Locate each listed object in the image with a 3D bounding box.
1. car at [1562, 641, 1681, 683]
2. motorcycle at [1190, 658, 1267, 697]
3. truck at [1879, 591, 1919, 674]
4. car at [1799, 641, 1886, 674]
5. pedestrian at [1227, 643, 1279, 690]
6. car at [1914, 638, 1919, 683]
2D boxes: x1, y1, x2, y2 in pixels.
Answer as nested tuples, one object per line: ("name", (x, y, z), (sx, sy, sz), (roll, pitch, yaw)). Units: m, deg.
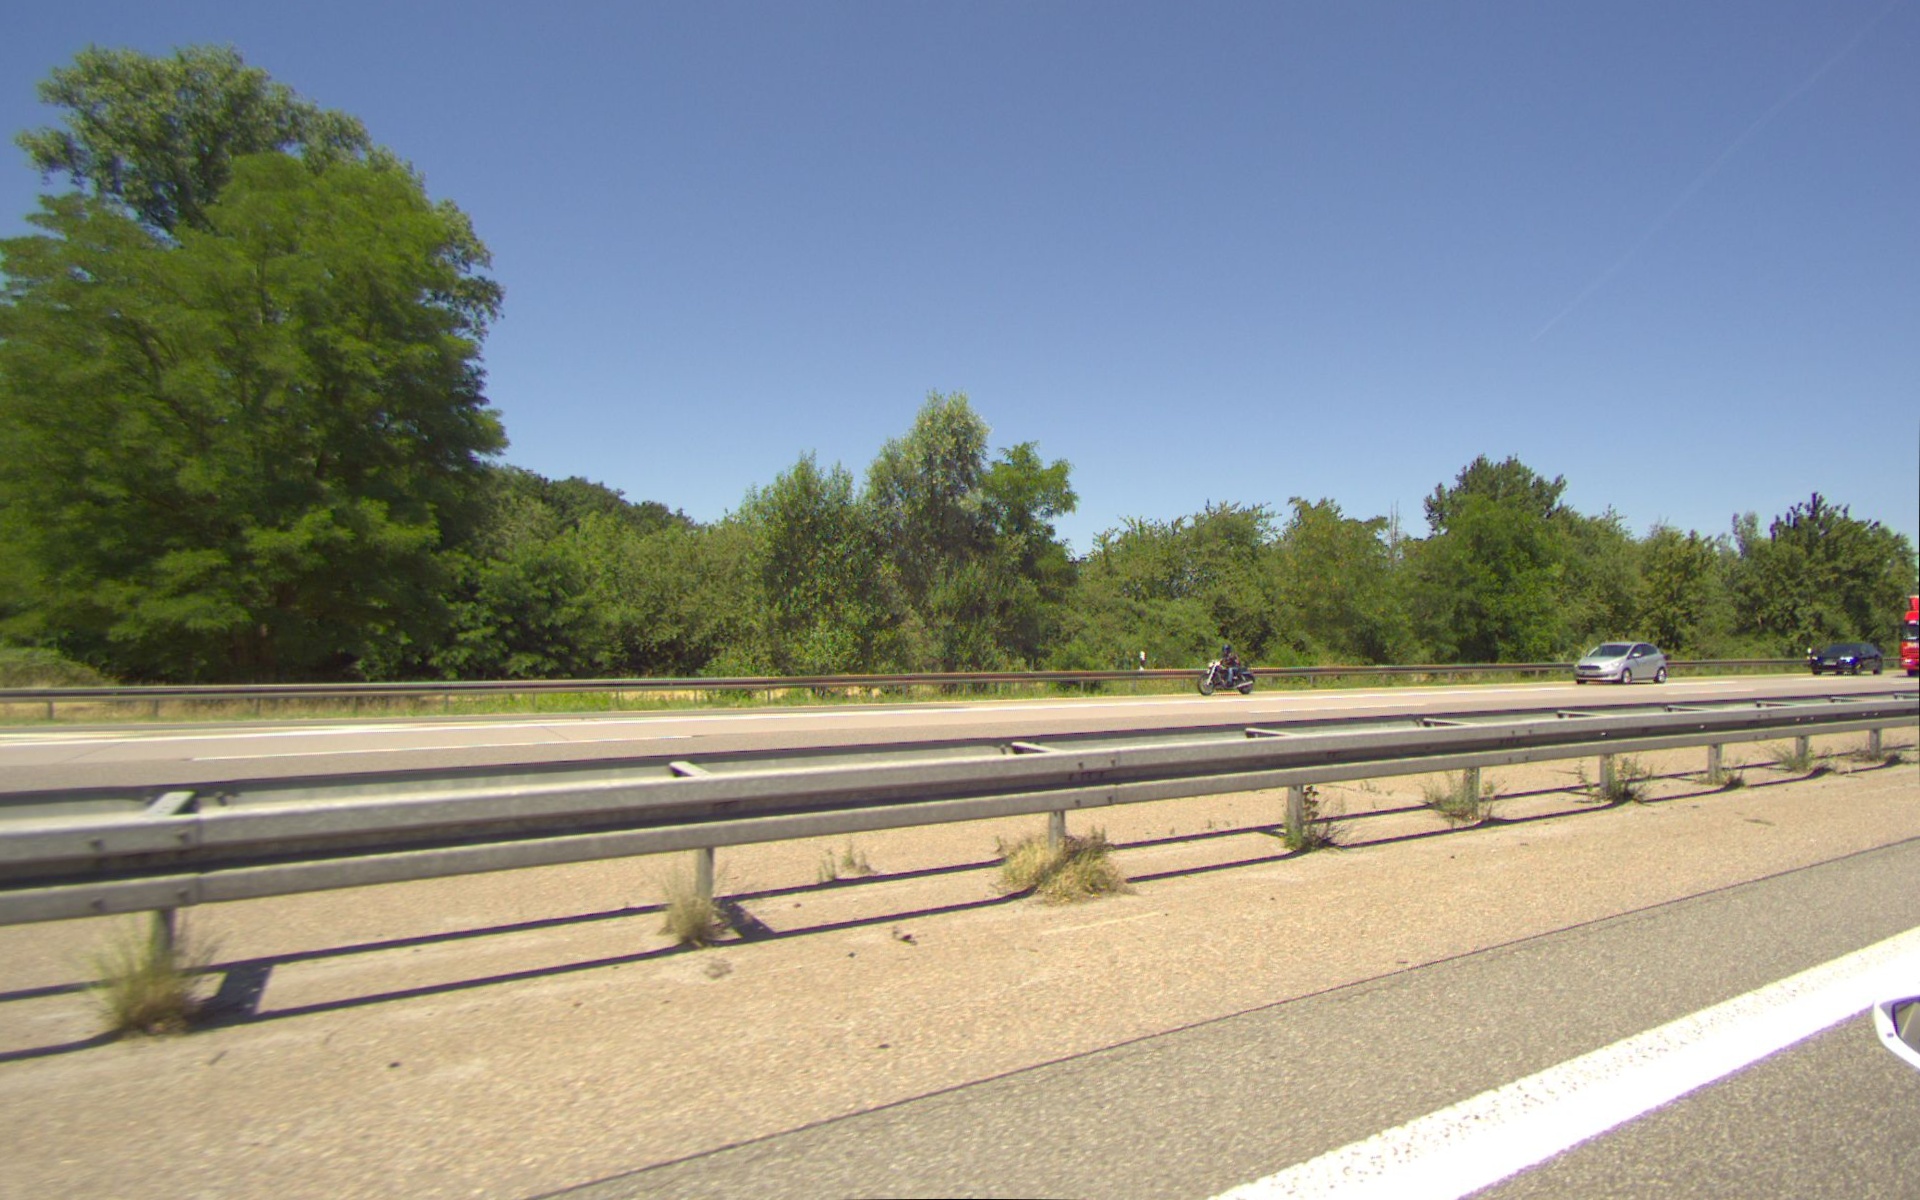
("car", (25.621, 2.388, 38.879), (4.665, 1.529, 1.985), (2, -4, -30))
("motorcycle", (8.269, 2.370, 30.898), (2.363, 1.127, 0.776), (1, -1, -27))
("truck", (47.625, 1.579, 47.812), (9.691, 3.776, 3.050), (1, -1, -31))
("car", (44.902, 2.913, 51.099), (4.214, 1.599, 1.986), (2, -2, -28))
("pedestrian", (9.165, 2.080, 31.419), (1.401, 1.421, 0.772), (1, -1, -27))
("car", (37.740, 2.254, 37.408), (4.490, 1.647, 1.985), (1, -3, -30))
